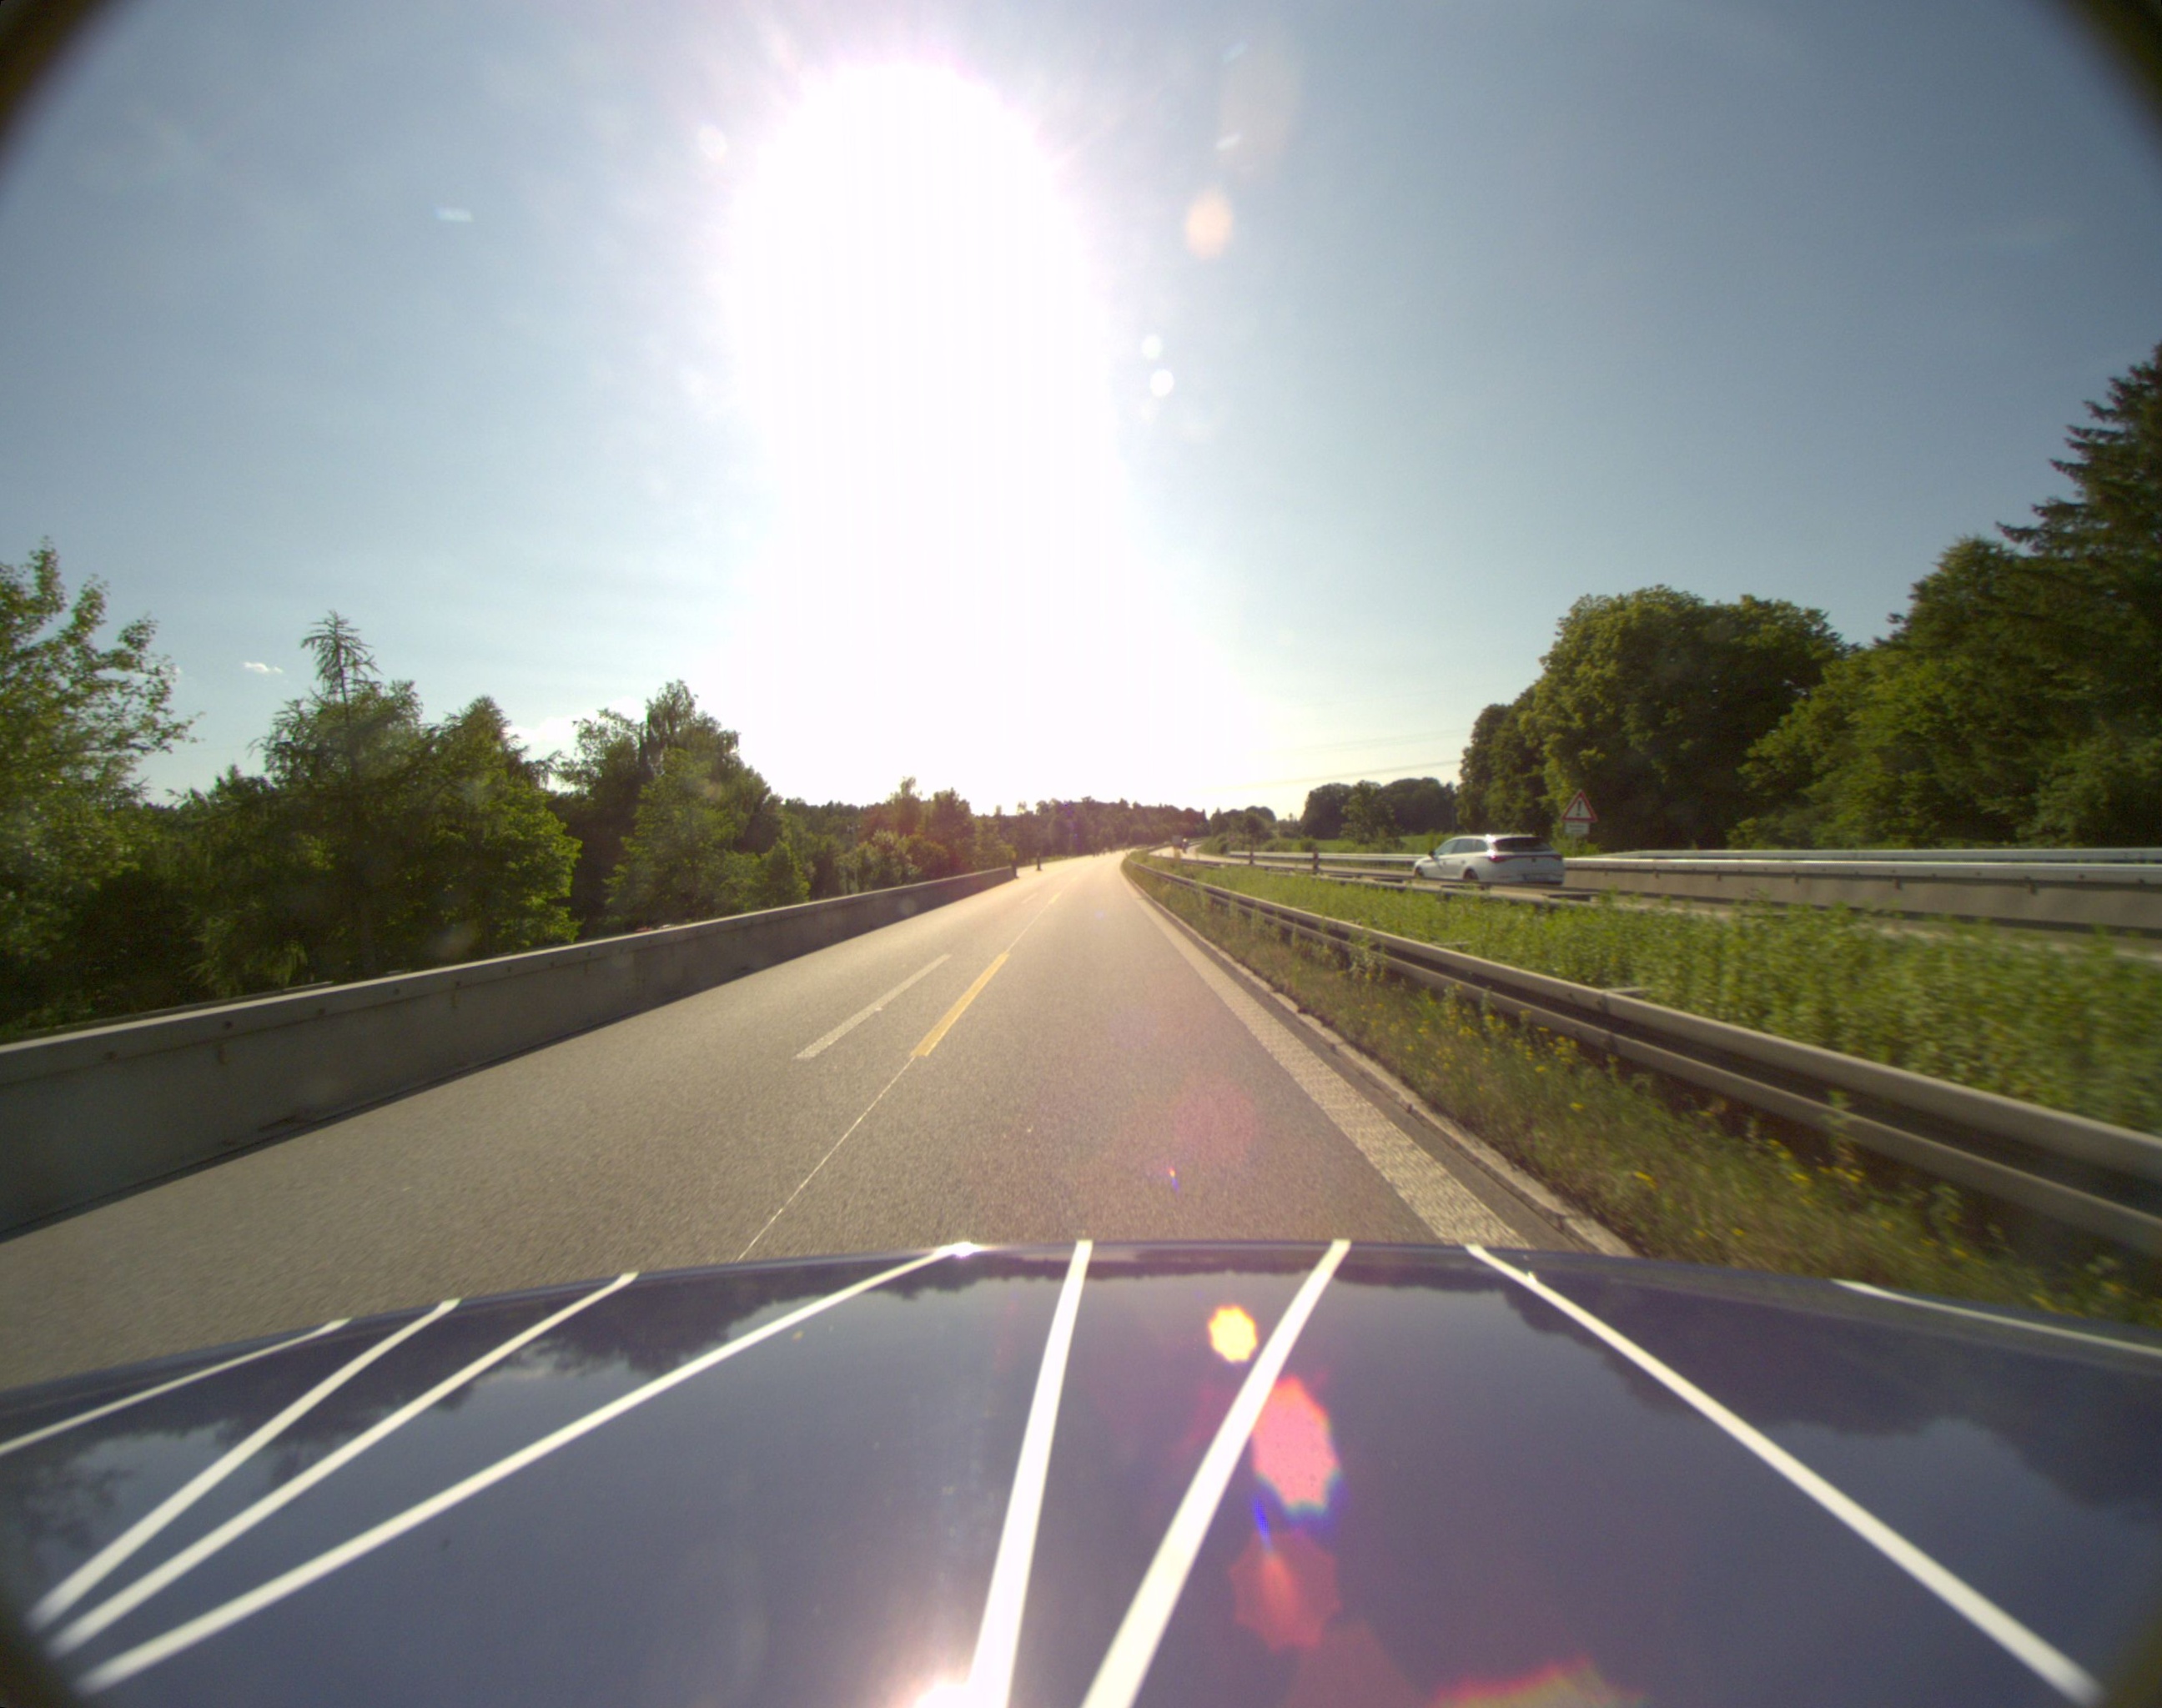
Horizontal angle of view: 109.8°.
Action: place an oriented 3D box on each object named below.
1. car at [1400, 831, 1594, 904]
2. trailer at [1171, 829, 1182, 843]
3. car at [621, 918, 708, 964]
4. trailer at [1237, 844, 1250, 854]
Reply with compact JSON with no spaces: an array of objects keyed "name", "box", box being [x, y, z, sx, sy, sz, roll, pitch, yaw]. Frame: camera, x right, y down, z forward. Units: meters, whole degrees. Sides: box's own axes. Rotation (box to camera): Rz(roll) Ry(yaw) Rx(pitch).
[{"name":"car","box":[9.614,0.251,18.147,1.888,1.424,4.983,-3,1,0]},{"name":"trailer","box":[28.369,-5.414,226.419,2.684,3.931,13.773,-1,1,6]},{"name":"car","box":[-19.672,4.063,36.064,1.768,1.644,3.881,-3,1,3]},{"name":"trailer","box":[19.780,-0.622,92.373,0.995,1.047,3.424,-6,0,4]}]
